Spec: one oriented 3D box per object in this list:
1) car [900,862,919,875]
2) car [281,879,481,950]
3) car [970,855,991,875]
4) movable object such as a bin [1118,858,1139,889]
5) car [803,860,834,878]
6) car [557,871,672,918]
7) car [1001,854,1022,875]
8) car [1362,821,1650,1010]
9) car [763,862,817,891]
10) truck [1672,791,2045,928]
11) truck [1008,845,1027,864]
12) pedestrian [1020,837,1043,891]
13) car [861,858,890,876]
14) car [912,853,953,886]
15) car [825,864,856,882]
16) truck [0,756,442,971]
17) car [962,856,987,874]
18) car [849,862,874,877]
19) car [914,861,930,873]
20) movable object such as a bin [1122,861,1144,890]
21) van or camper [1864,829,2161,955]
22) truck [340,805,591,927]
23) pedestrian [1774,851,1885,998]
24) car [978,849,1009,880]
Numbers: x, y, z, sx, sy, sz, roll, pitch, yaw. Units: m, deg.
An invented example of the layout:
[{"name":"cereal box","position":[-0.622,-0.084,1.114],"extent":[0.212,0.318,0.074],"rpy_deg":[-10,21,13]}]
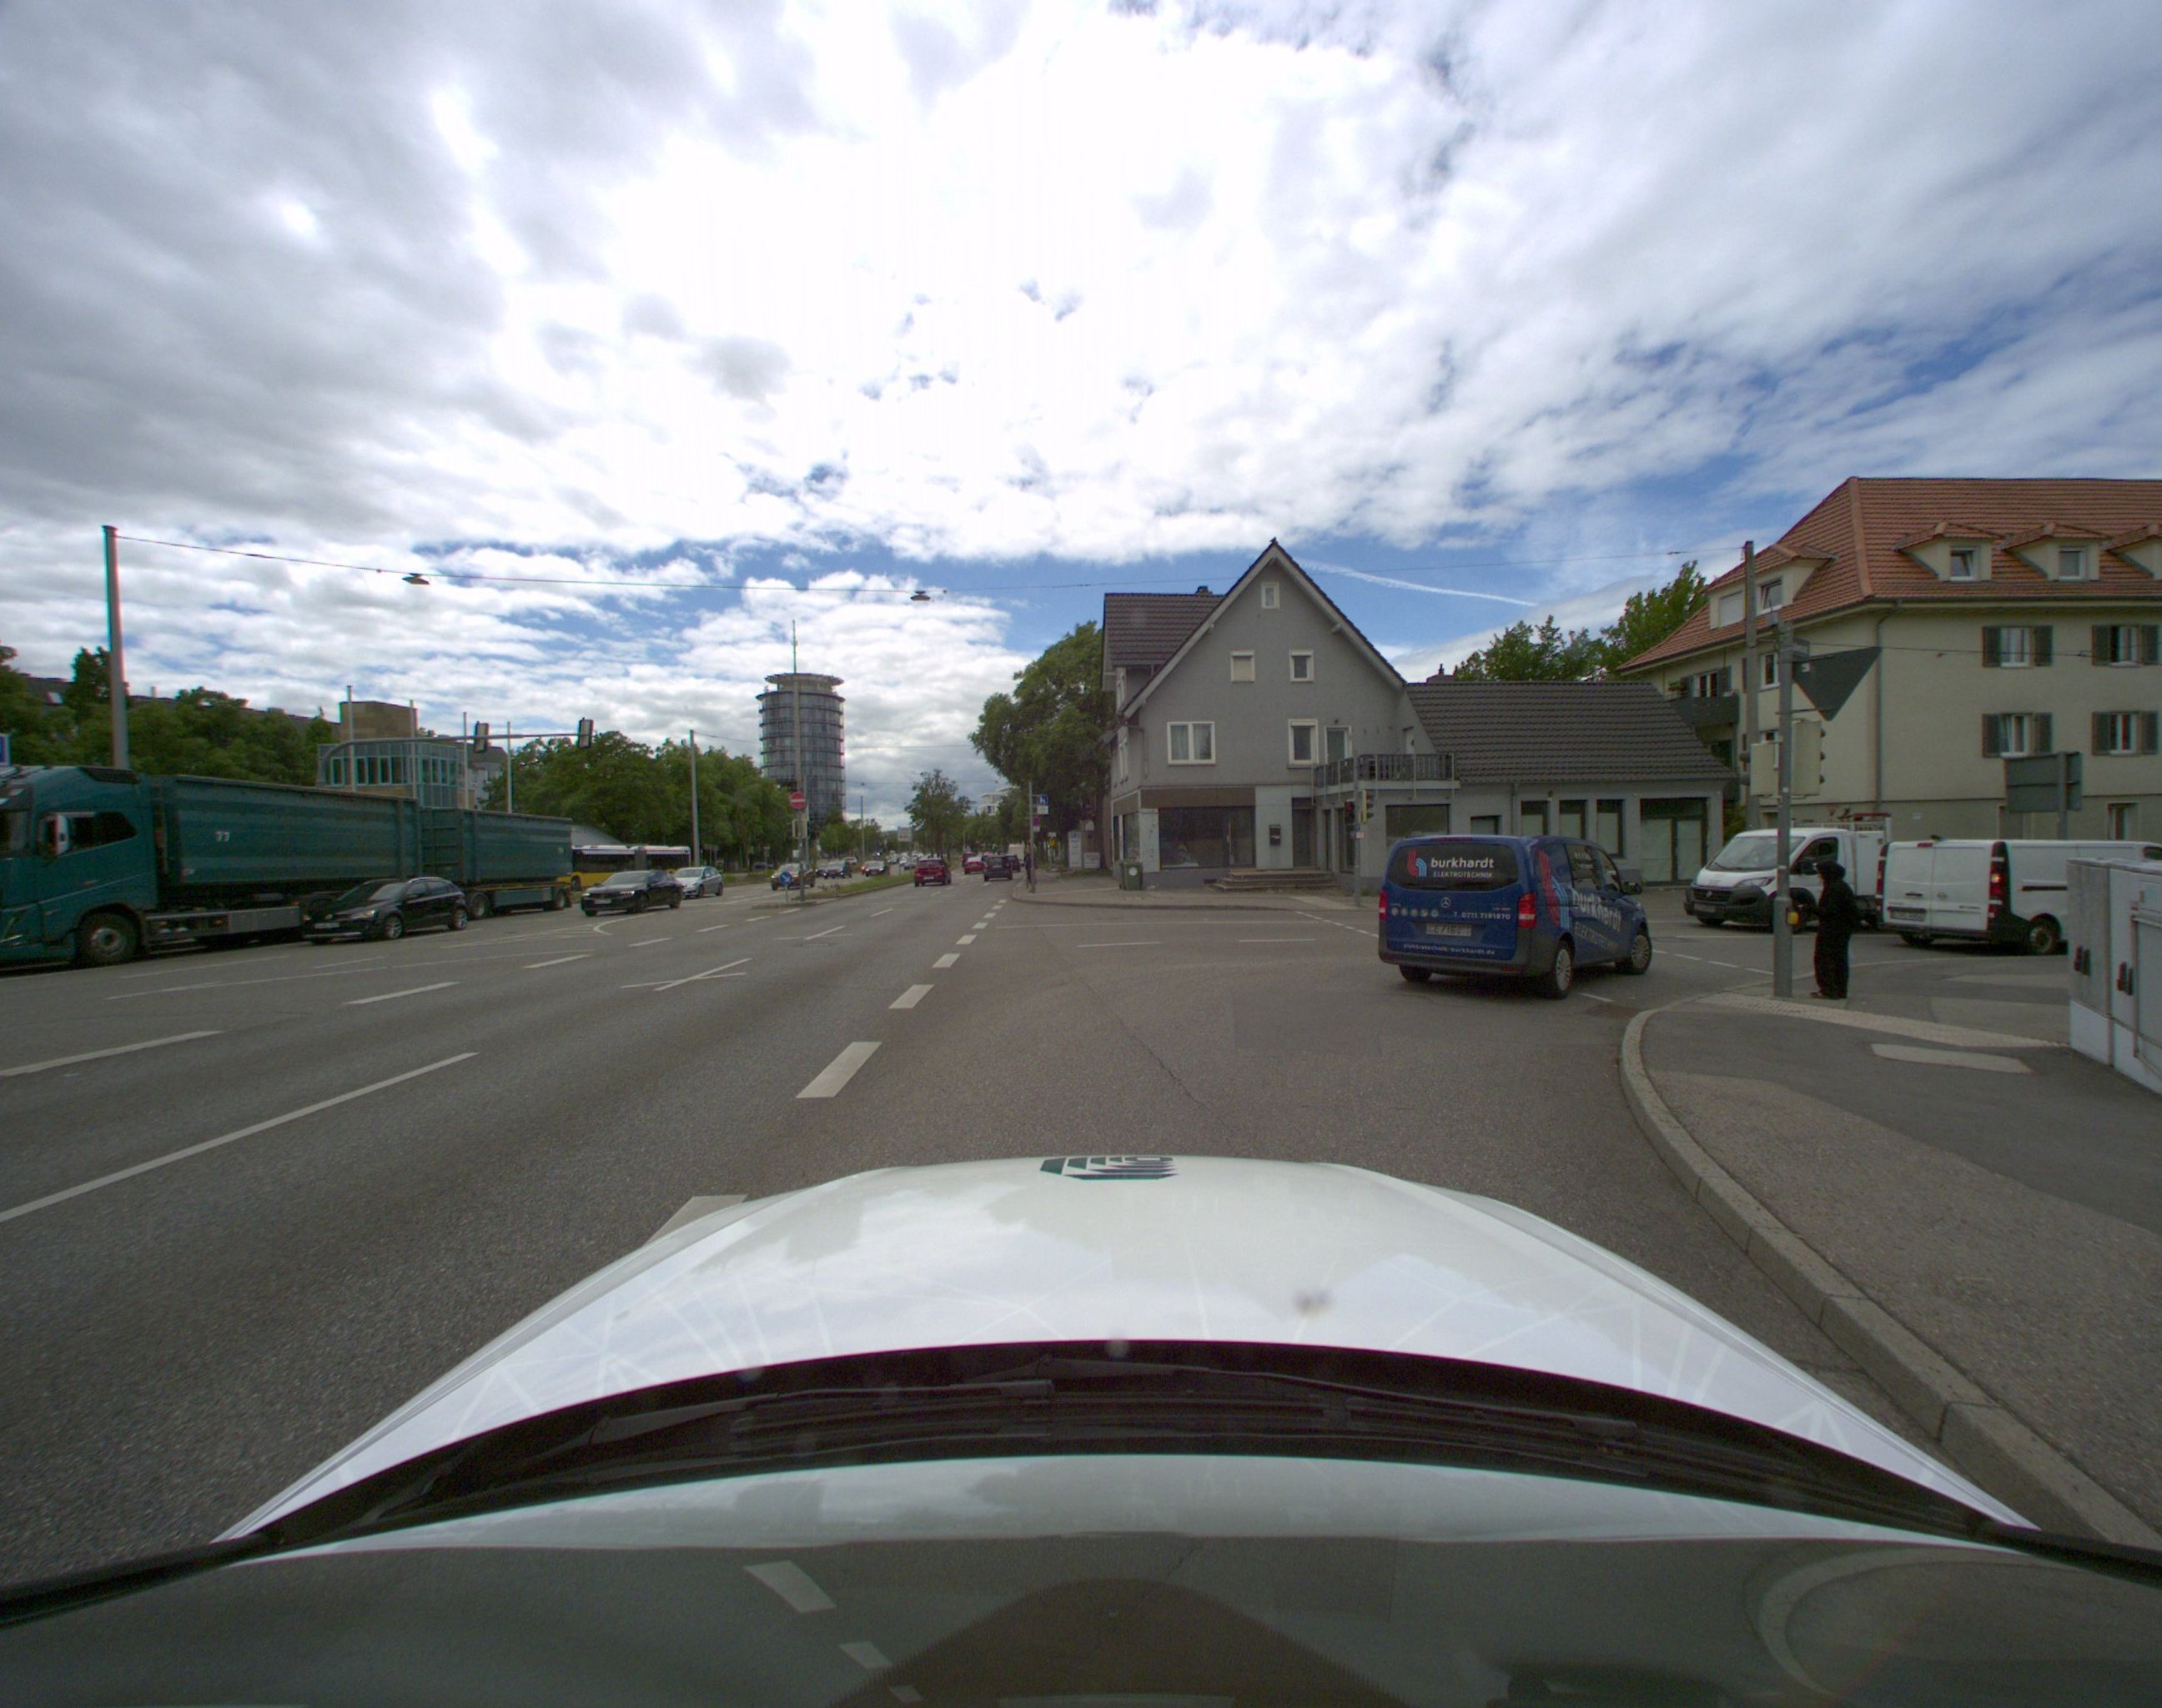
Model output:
[{"name":"car","position":[-21.838,1.784,103.812],"extent":[1.991,1.574,3.992],"rpy_deg":[-2,0,-6]},{"name":"car","position":[-17.350,1.432,20.478],"extent":[1.795,1.417,3.991],"rpy_deg":[-2,0,-6]},{"name":"car","position":[-10.836,1.142,87.435],"extent":[1.995,2.013,3.985],"rpy_deg":[0,1,-11]},{"name":"movable object such as a bin","position":[1.690,0.695,29.160],"extent":[0.597,1.101,0.571],"rpy_deg":[-2,0,-11]},{"name":"car","position":[-25.698,1.440,79.852],"extent":[1.990,1.574,3.993],"rpy_deg":[-2,0,-5]},{"name":"car","position":[-15.500,1.295,27.349],"extent":[1.995,1.332,4.427],"rpy_deg":[-2,0,-12]},{"name":"car","position":[-5.972,0.870,69.988],"extent":[1.743,1.723,3.993],"rpy_deg":[-2,0,-5]},{"name":"car","position":[5.756,0.637,10.739],"extent":[4.567,1.965,1.930],"rpy_deg":[0,-1,-43]},{"name":"car","position":[-17.058,1.294,47.938],"extent":[1.991,1.516,3.992],"rpy_deg":[-2,0,-6]},{"name":"truck","position":[16.488,0.139,17.466],"extent":[6.372,2.701,1.997],"rpy_deg":[1,-1,-4]},{"name":"truck","position":[-7.409,0.055,96.071],"extent":[1.988,2.166,5.554],"rpy_deg":[0,0,-2]},{"name":"pedestrian","position":[-1.894,0.391,31.275],"extent":[0.768,2.013,0.878],"rpy_deg":[-2,0,2]},{"name":"car","position":[-19.523,1.251,77.623],"extent":[1.990,1.574,3.993],"rpy_deg":[-2,0,-5]},{"name":"car","position":[-8.182,0.833,45.171],"extent":[1.743,1.723,3.993],"rpy_deg":[-2,0,-5]},{"name":"car","position":[-22.152,1.744,75.156],"extent":[1.990,1.574,3.993],"rpy_deg":[-2,0,-5]},{"name":"truck","position":[-20.843,0.245,19.439],"extent":[3.365,3.727,11.252],"rpy_deg":[-1,-1,-7]},{"name":"car","position":[-9.297,0.979,70.733],"extent":[1.869,1.486,3.985],"rpy_deg":[-1,-1,-11]},{"name":"car","position":[-24.286,1.690,90.393],"extent":[1.991,1.574,3.992],"rpy_deg":[-2,0,-6]},{"name":"car","position":[-23.297,1.872,119.487],"extent":[1.991,1.574,3.992],"rpy_deg":[-2,0,-6]},{"name":"movable object such as a bin","position":[1.818,0.748,28.570],"extent":[0.597,0.987,0.571],"rpy_deg":[-2,0,-11]},{"name":"van or camper","position":[17.143,0.588,14.481],"extent":[5.078,2.013,1.994],"rpy_deg":[0,1,-9]},{"name":"truck","position":[-21.843,0.415,29.737],"extent":[3.362,3.727,8.014],"rpy_deg":[-2,0,-4]},{"name":"pedestrian","position":[8.450,0.780,9.215],"extent":[0.603,1.598,0.608],"rpy_deg":[-1,-3,-4]},{"name":"car","position":[-5.306,0.612,49.621],"extent":[1.744,1.723,3.992],"rpy_deg":[-2,0,-5]}]
